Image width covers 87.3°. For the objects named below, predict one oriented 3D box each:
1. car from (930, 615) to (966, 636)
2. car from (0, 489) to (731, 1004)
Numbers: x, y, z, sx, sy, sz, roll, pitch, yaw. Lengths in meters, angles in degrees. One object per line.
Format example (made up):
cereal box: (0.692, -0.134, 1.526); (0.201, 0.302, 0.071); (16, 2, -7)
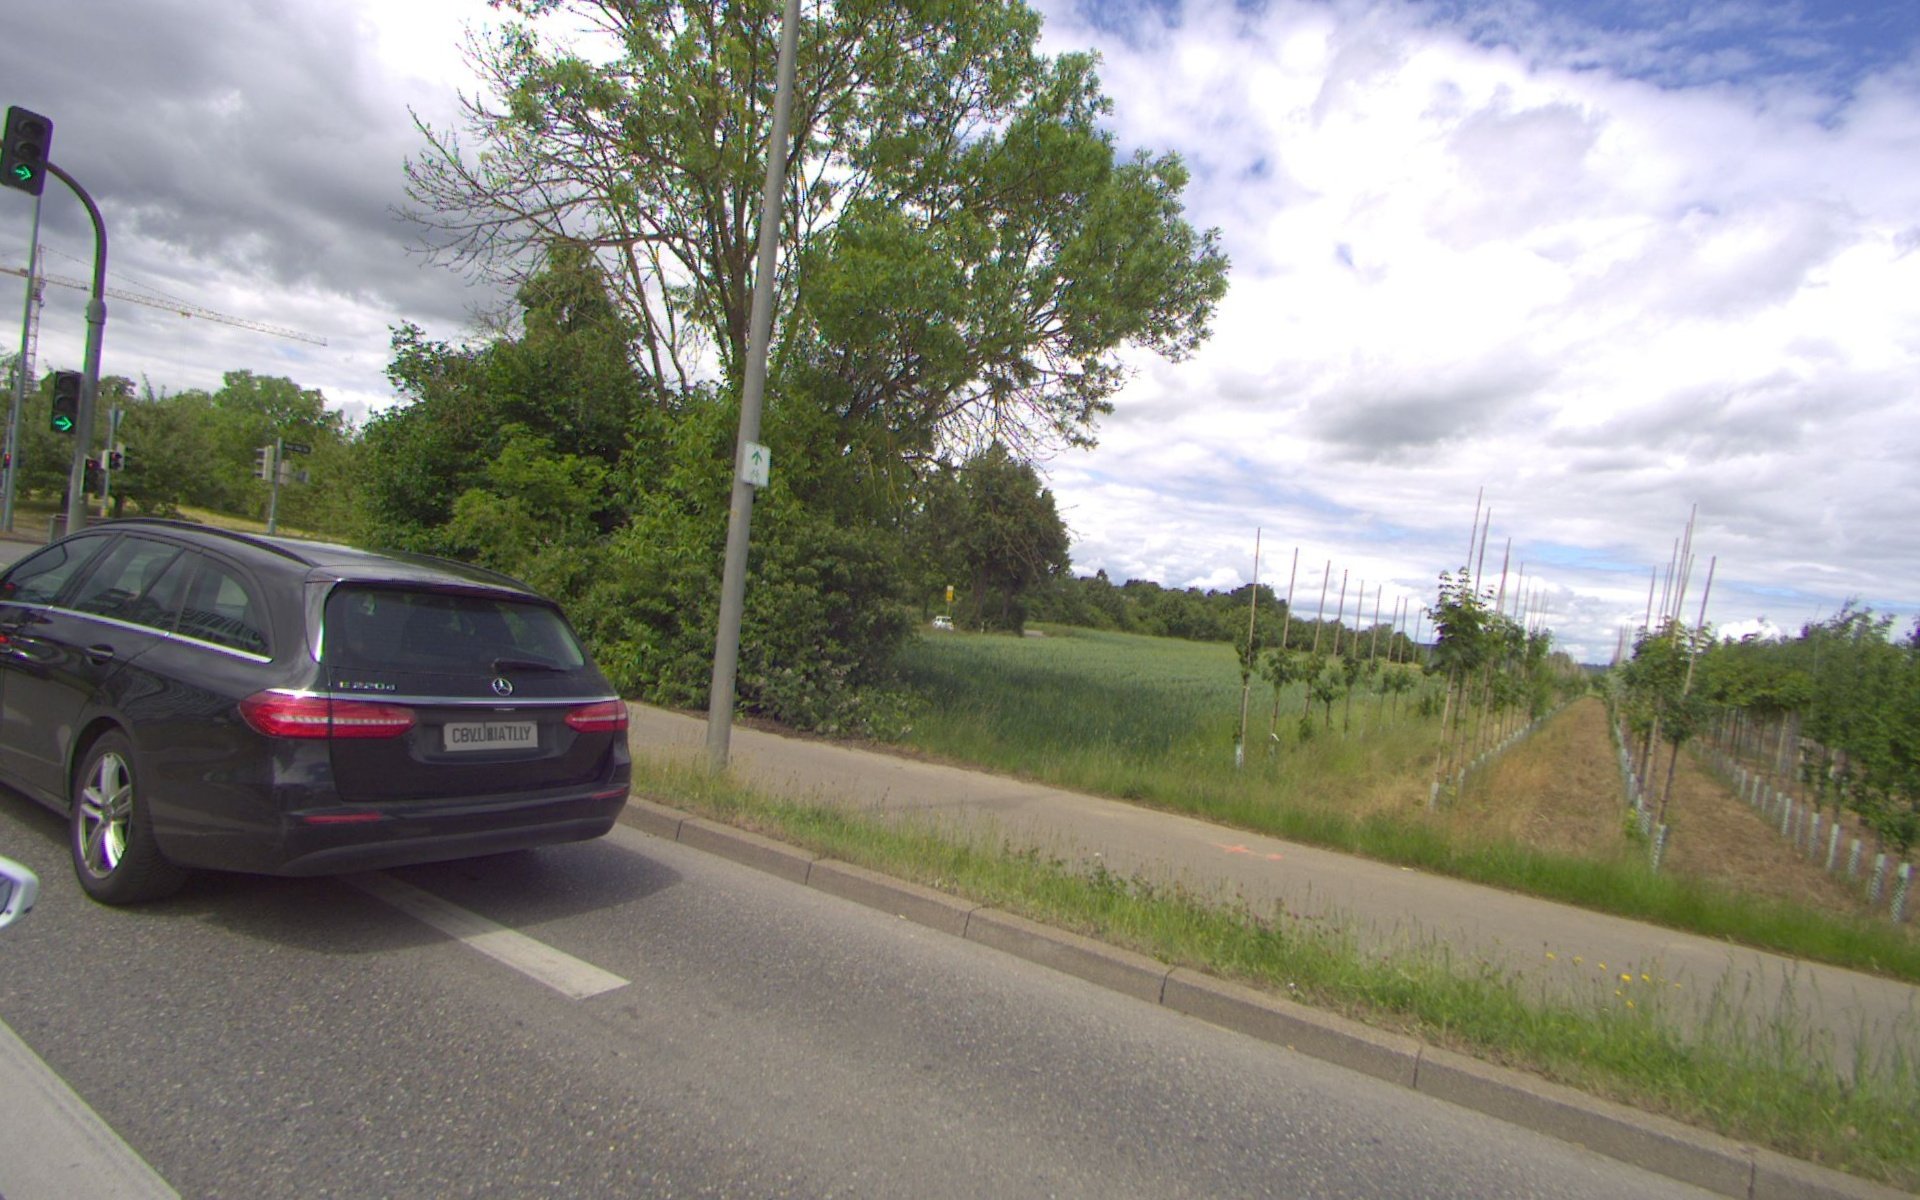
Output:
car: (-0.871, 1.947, 77.262); (1.657, 1.362, 3.391); (7, 0, 17)
car: (-3.827, 0.320, 5.218); (5.110, 1.459, 1.875); (7, 1, 29)
